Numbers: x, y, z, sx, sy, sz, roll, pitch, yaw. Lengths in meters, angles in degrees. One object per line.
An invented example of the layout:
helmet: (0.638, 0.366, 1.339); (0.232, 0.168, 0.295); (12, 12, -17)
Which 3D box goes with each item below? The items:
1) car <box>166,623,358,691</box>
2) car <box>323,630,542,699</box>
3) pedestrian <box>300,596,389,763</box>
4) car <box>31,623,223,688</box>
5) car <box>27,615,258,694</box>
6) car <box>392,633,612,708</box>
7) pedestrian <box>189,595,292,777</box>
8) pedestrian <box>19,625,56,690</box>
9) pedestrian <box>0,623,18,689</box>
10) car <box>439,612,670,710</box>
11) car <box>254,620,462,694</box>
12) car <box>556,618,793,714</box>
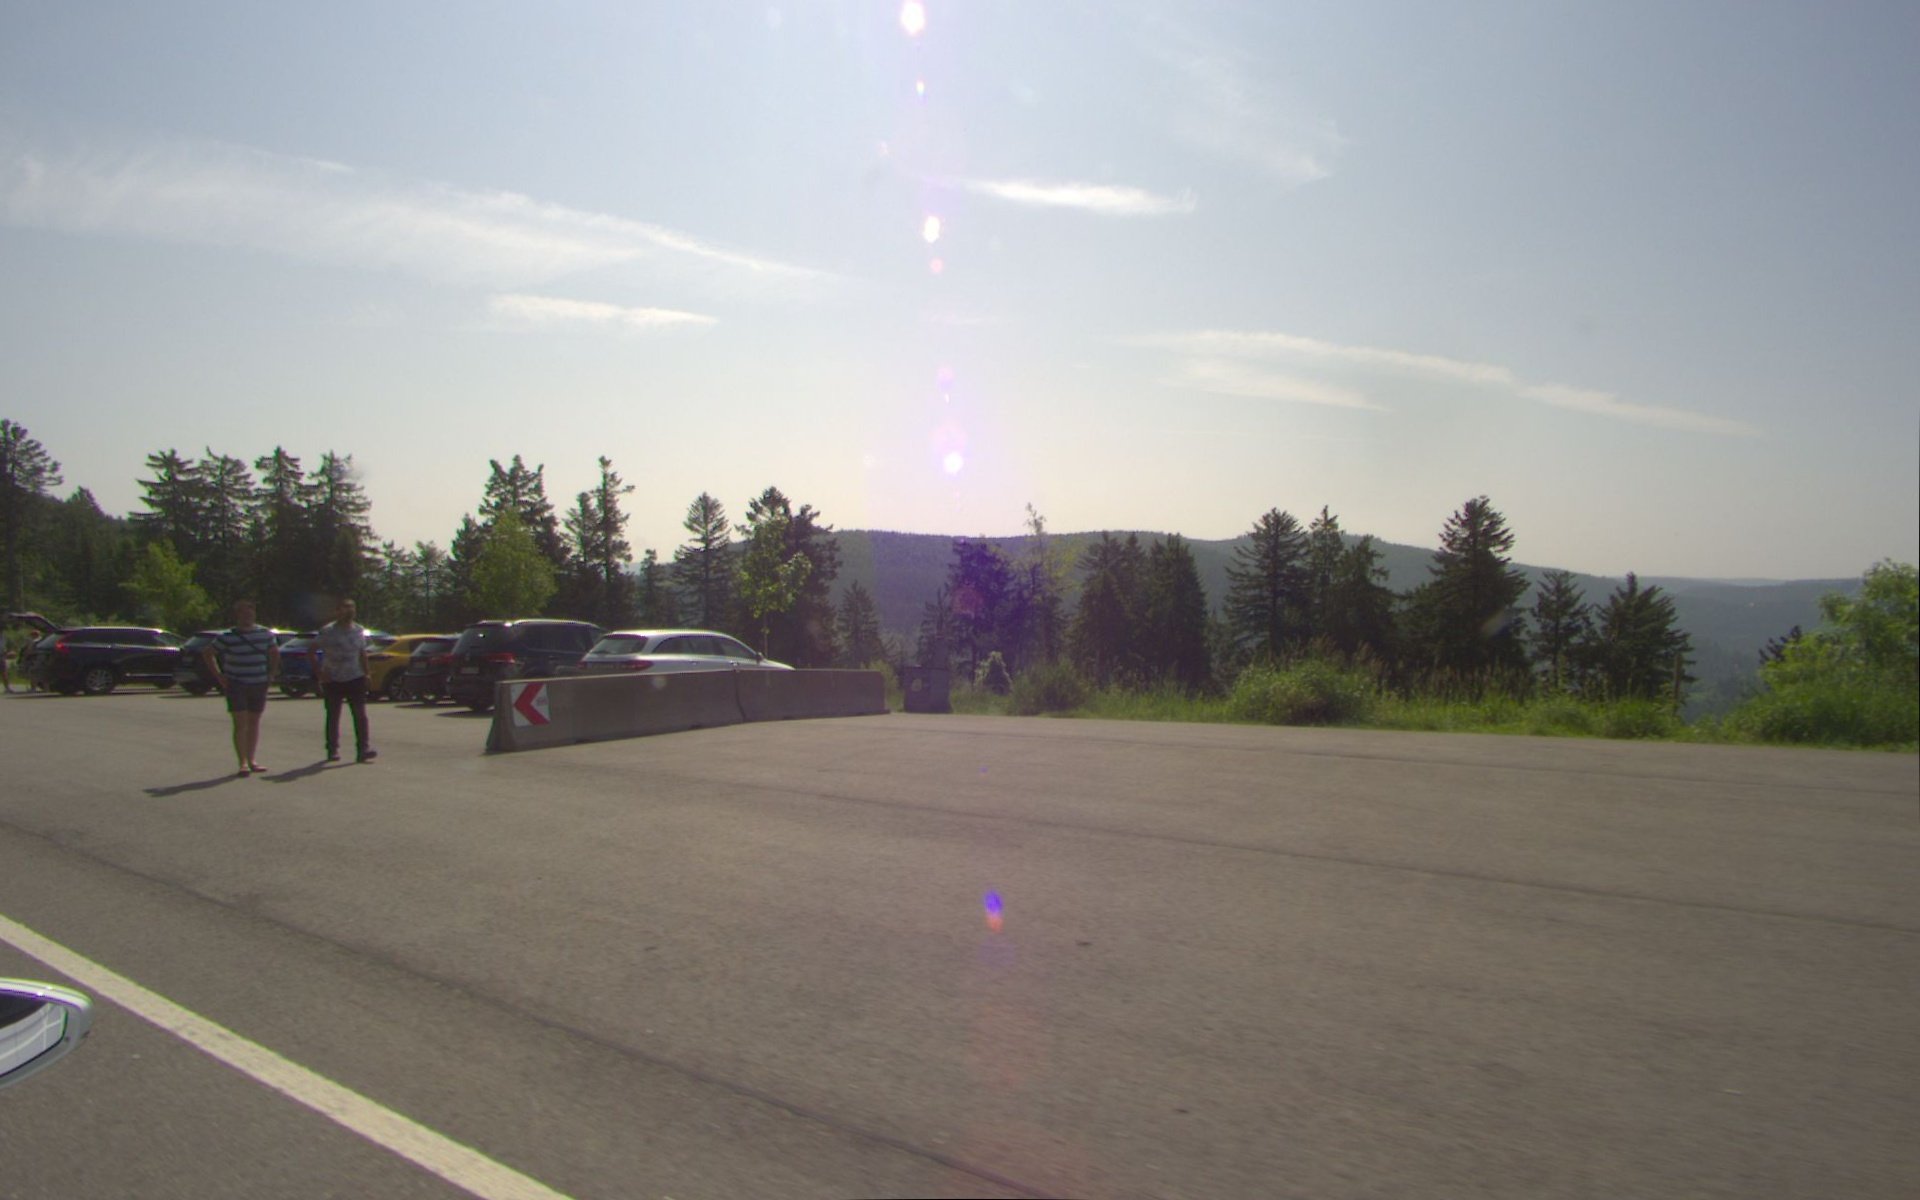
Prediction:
car: (-17.712, 1.389, 25.580); (1.575, 1.587, 3.751); (-1, -1, 26)
car: (-11.812, 1.376, 22.676); (1.959, 1.370, 3.980); (-1, -1, 32)
pedestrian: (-6.822, 0.841, 11.099); (0.660, 1.764, 0.885); (-1, 1, -44)
car: (-23.277, 1.534, 28.140); (1.627, 1.681, 3.816); (-1, -3, 28)
car: (-20.972, 1.334, 25.890); (1.863, 1.817, 4.259); (2, 0, 30)
car: (-9.674, 1.493, 21.472); (1.738, 1.454, 3.993); (-1, -4, 31)
pedestrian: (-7.418, 0.845, 10.320); (0.749, 1.783, 0.768); (-1, 1, -44)
pedestrian: (-23.606, 1.451, 25.633); (0.611, 1.609, 0.729); (-1, 2, -38)
pedestrian: (-24.980, 1.449, 26.041); (0.648, 1.683, 0.680); (-1, 2, -44)
car: (-7.570, 1.143, 19.086); (1.576, 1.667, 3.986); (-1, -3, 29)
car: (-14.505, 1.308, 24.353); (1.778, 1.556, 3.984); (3, 1, 29)
car: (-4.930, 1.136, 17.844); (1.747, 1.494, 3.985); (0, -3, 30)
